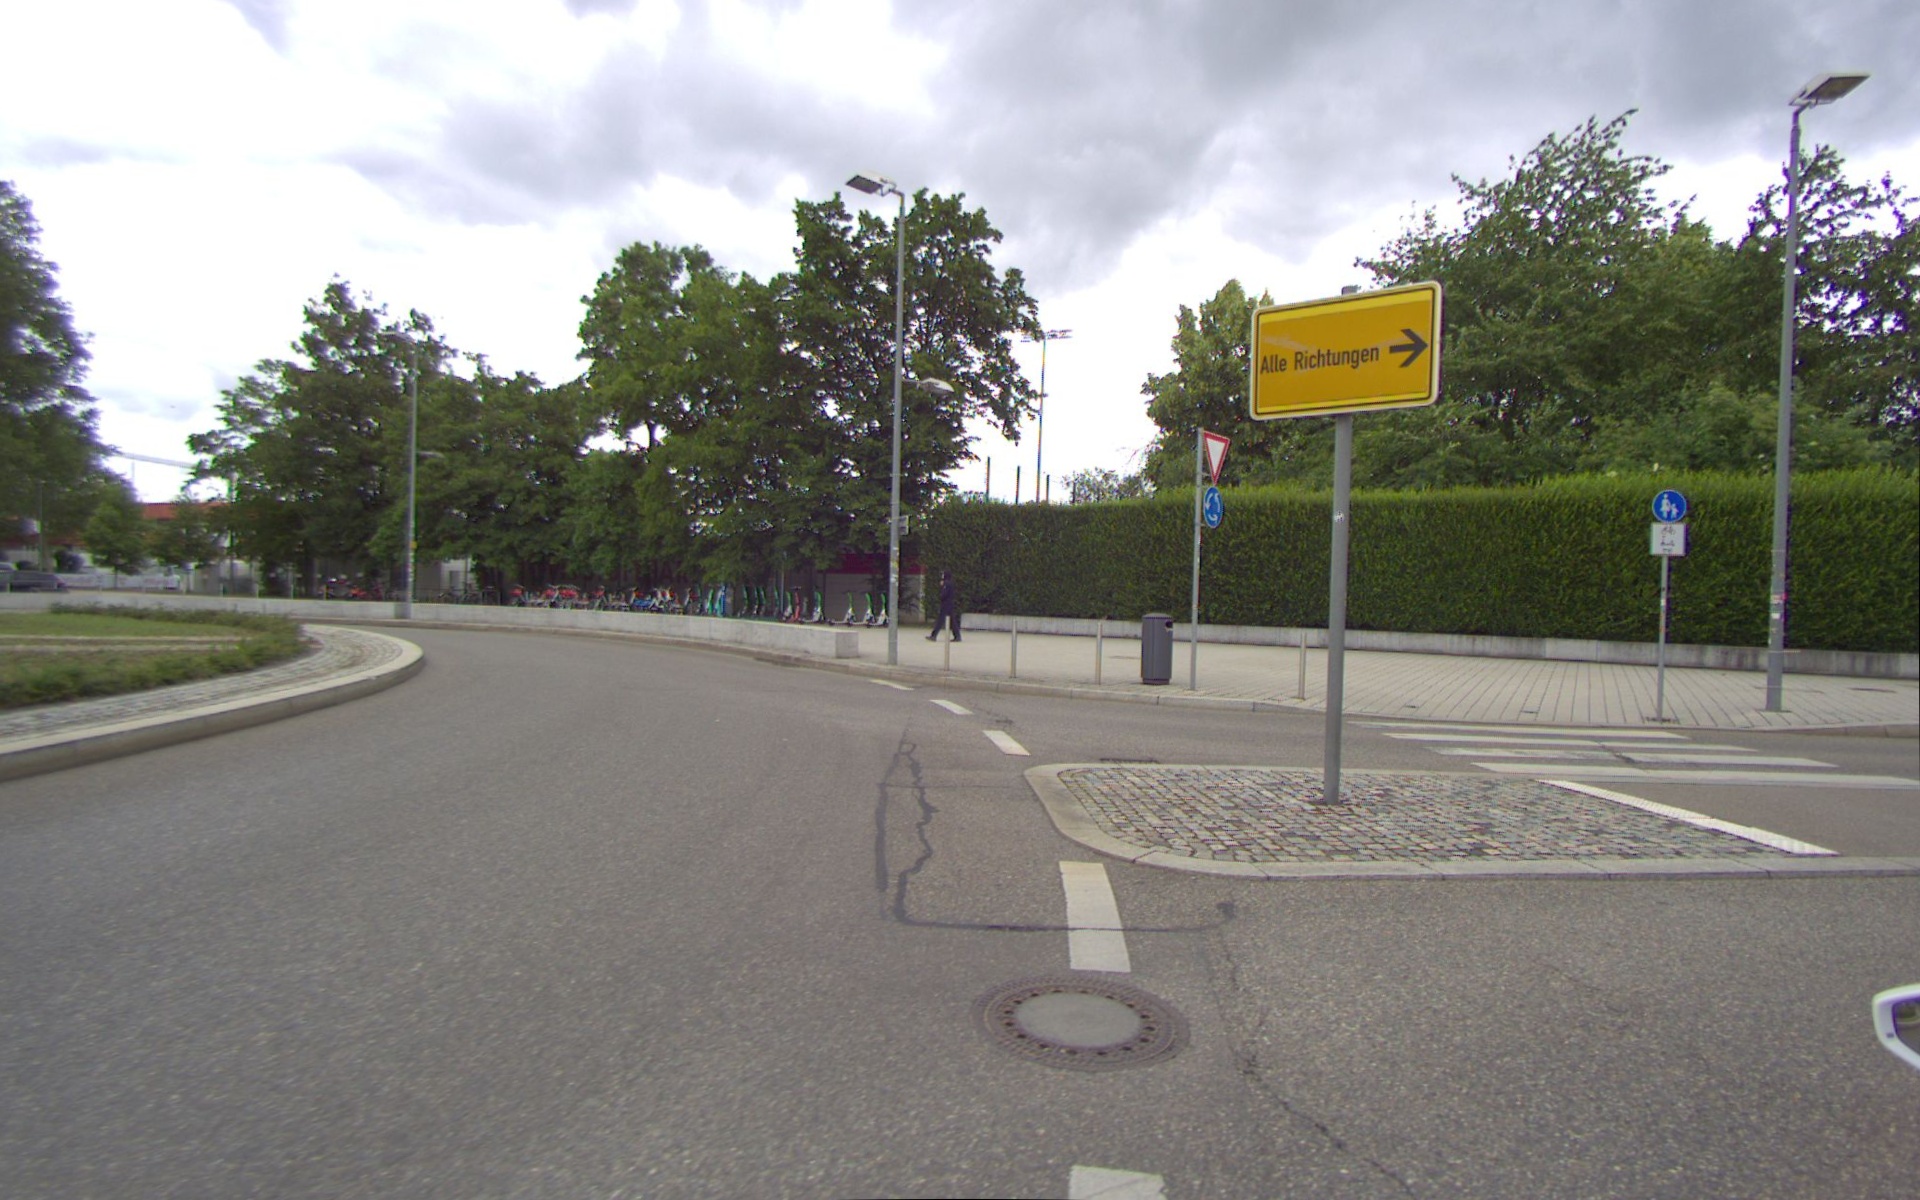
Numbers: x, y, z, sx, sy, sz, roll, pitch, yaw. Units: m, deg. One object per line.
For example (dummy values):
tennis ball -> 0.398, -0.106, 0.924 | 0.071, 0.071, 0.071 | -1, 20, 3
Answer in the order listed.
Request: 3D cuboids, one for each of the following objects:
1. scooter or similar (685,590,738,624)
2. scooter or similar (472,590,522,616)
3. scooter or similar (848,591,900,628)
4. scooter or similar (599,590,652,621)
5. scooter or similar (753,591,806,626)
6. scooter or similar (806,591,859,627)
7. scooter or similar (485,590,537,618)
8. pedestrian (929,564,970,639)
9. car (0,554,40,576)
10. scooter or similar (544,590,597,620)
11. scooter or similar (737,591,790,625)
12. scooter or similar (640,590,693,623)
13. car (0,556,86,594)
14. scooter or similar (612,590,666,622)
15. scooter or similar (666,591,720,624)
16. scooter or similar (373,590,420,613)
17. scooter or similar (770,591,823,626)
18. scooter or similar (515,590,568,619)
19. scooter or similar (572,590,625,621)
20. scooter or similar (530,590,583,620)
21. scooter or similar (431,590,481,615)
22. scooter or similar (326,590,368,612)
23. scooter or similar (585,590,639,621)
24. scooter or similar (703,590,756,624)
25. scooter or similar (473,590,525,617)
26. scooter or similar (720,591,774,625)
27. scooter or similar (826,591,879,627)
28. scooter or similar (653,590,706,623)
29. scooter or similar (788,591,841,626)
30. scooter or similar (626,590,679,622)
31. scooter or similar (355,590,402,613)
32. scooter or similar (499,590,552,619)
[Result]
scooter or similar -> -8.658, 0.235, 35.022 | 0.629, 1.124, 1.972 | 1, 1, 29
scooter or similar -> -20.222, 0.122, 43.888 | 0.629, 1.124, 1.972 | 1, 1, 29
scooter or similar -> -2.695, 0.277, 31.579 | 0.629, 1.124, 1.972 | 1, 1, 29
scooter or similar -> -12.361, 0.201, 37.183 | 0.629, 1.124, 1.972 | 1, 1, 29
scooter or similar -> -5.983, 0.262, 33.445 | 0.629, 1.124, 1.972 | 1, 1, 29
scooter or similar -> -4.093, 0.269, 32.395 | 0.629, 1.124, 1.972 | 1, 1, 29
scooter or similar -> -18.415, 0.149, 41.224 | 0.629, 1.124, 1.972 | 1, 1, 29
pedestrian -> -0.269, 0.040, 25.157 | 0.782, 1.832, 0.861 | 0, 1, -23
car -> -76.779, -2.838, 80.328 | 1.764, 1.674, 4.428 | 1, 1, 30
scooter or similar -> -15.022, 0.179, 38.812 | 0.629, 1.124, 1.972 | 1, 1, 29
scooter or similar -> -6.594, 0.252, 33.782 | 0.629, 1.124, 1.972 | 1, 1, 29
scooter or similar -> -10.536, 0.219, 36.118 | 0.629, 1.124, 1.972 | 1, 1, 29
car -> -39.375, -1.013, 42.073 | 1.748, 1.545, 3.817 | 1, 1, 31
scooter or similar -> -11.749, 0.209, 36.812 | 0.629, 1.124, 1.972 | 1, 1, 29
scooter or similar -> -9.396, 0.239, 35.428 | 0.629, 1.124, 1.972 | 1, 1, 29
scooter or similar -> -27.265, 0.065, 48.638 | 0.629, 1.124, 1.972 | 1, 1, 29
scooter or similar -> -5.381, 0.262, 33.110 | 0.629, 1.124, 1.972 | 1, 1, 29
scooter or similar -> -16.607, 0.170, 39.862 | 0.629, 1.124, 1.972 | 1, 1, 29
scooter or similar -> -13.604, 0.191, 37.879 | 0.629, 1.124, 1.972 | 1, 1, 29
scooter or similar -> -15.767, 0.177, 39.270 | 0.629, 1.124, 1.972 | 1, 1, 29
scooter or similar -> -22.415, 0.105, 44.670 | 0.629, 1.124, 1.972 | 1, 1, 29
scooter or similar -> -31.550, 0.051, 51.738 | 0.536, 1.109, 1.806 | 1, 1, 29
scooter or similar -> -12.983, 0.196, 37.540 | 0.629, 1.124, 1.972 | 1, 1, 29
scooter or similar -> -7.915, 0.236, 34.596 | 0.629, 1.124, 1.972 | 1, 1, 29
scooter or similar -> -19.070, 0.138, 41.614 | 0.629, 1.119, 1.972 | 1, 1, 29
scooter or similar -> -7.233, 0.246, 34.187 | 0.629, 1.124, 1.972 | 1, 1, 29
scooter or similar -> -3.409, 0.271, 32.003 | 0.629, 1.124, 1.972 | 1, 1, 29
scooter or similar -> -9.963, 0.220, 35.775 | 0.629, 1.124, 1.972 | 1, 1, 29
scooter or similar -> -4.734, 0.264, 32.729 | 0.629, 1.124, 1.972 | 1, 1, 29
scooter or similar -> -11.141, 0.214, 36.466 | 0.629, 1.124, 1.972 | 1, 1, 29
scooter or similar -> -28.884, 0.050, 49.909 | 0.629, 1.124, 1.972 | 1, 1, 29
scooter or similar -> -17.437, 0.159, 40.339 | 0.629, 1.124, 1.972 | 1, 1, 29
